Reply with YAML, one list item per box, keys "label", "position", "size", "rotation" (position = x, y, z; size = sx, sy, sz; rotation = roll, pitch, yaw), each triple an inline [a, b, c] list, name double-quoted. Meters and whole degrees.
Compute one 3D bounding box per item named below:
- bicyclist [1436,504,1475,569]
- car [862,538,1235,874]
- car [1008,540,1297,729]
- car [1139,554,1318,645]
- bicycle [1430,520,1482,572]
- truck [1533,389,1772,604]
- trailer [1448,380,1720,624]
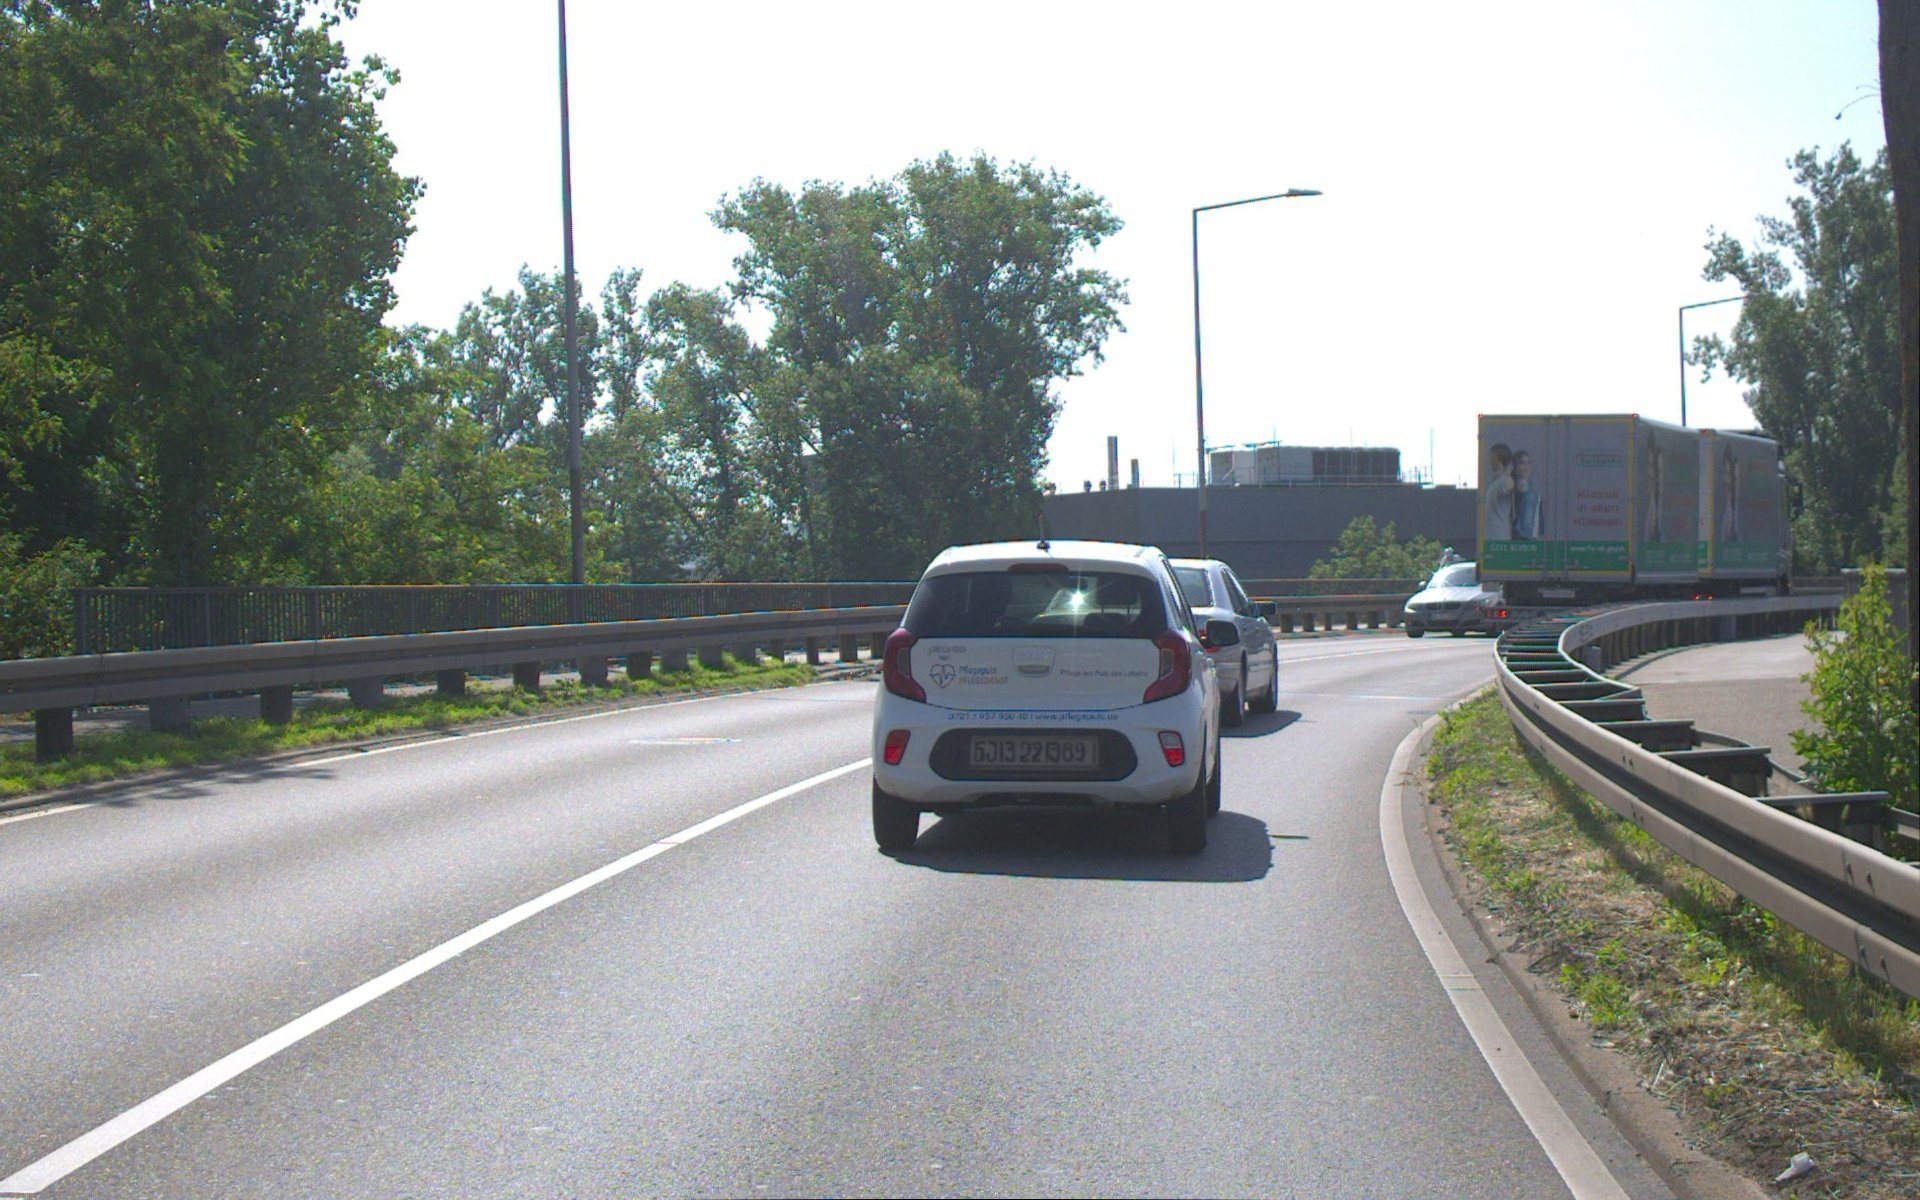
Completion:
- label: "bicyclist"
  position: [11.311, -1.441, 78.461]
  size: [0.608, 1.434, 1.077]
  rotation: [-2, -1, 22]
- label: "car"
  position: [0.516, 0.453, 17.919]
  size: [1.702, 1.489, 4.000]
  rotation: [1, 1, 3]
- label: "car"
  position: [1.767, 0.228, 29.914]
  size: [1.940, 1.481, 4.898]
  rotation: [1, 1, 10]
- label: "car"
  position: [4.355, -0.043, 55.219]
  size: [1.719, 1.393, 4.178]
  rotation: [0, 1, 21]
- label: "bicycle"
  position: [11.322, -1.222, 78.459]
  size: [0.612, 1.131, 2.146]
  rotation: [-3, -1, 22]
- label: "truck"
  position: [13.177, -2.015, 64.828]
  size: [3.263, 3.745, 8.363]
  rotation: [2, 3, 19]
- label: "trailer"
  position: [10.539, -1.706, 57.388]
  size: [3.227, 3.745, 7.818]
  rotation: [2, 3, 19]
